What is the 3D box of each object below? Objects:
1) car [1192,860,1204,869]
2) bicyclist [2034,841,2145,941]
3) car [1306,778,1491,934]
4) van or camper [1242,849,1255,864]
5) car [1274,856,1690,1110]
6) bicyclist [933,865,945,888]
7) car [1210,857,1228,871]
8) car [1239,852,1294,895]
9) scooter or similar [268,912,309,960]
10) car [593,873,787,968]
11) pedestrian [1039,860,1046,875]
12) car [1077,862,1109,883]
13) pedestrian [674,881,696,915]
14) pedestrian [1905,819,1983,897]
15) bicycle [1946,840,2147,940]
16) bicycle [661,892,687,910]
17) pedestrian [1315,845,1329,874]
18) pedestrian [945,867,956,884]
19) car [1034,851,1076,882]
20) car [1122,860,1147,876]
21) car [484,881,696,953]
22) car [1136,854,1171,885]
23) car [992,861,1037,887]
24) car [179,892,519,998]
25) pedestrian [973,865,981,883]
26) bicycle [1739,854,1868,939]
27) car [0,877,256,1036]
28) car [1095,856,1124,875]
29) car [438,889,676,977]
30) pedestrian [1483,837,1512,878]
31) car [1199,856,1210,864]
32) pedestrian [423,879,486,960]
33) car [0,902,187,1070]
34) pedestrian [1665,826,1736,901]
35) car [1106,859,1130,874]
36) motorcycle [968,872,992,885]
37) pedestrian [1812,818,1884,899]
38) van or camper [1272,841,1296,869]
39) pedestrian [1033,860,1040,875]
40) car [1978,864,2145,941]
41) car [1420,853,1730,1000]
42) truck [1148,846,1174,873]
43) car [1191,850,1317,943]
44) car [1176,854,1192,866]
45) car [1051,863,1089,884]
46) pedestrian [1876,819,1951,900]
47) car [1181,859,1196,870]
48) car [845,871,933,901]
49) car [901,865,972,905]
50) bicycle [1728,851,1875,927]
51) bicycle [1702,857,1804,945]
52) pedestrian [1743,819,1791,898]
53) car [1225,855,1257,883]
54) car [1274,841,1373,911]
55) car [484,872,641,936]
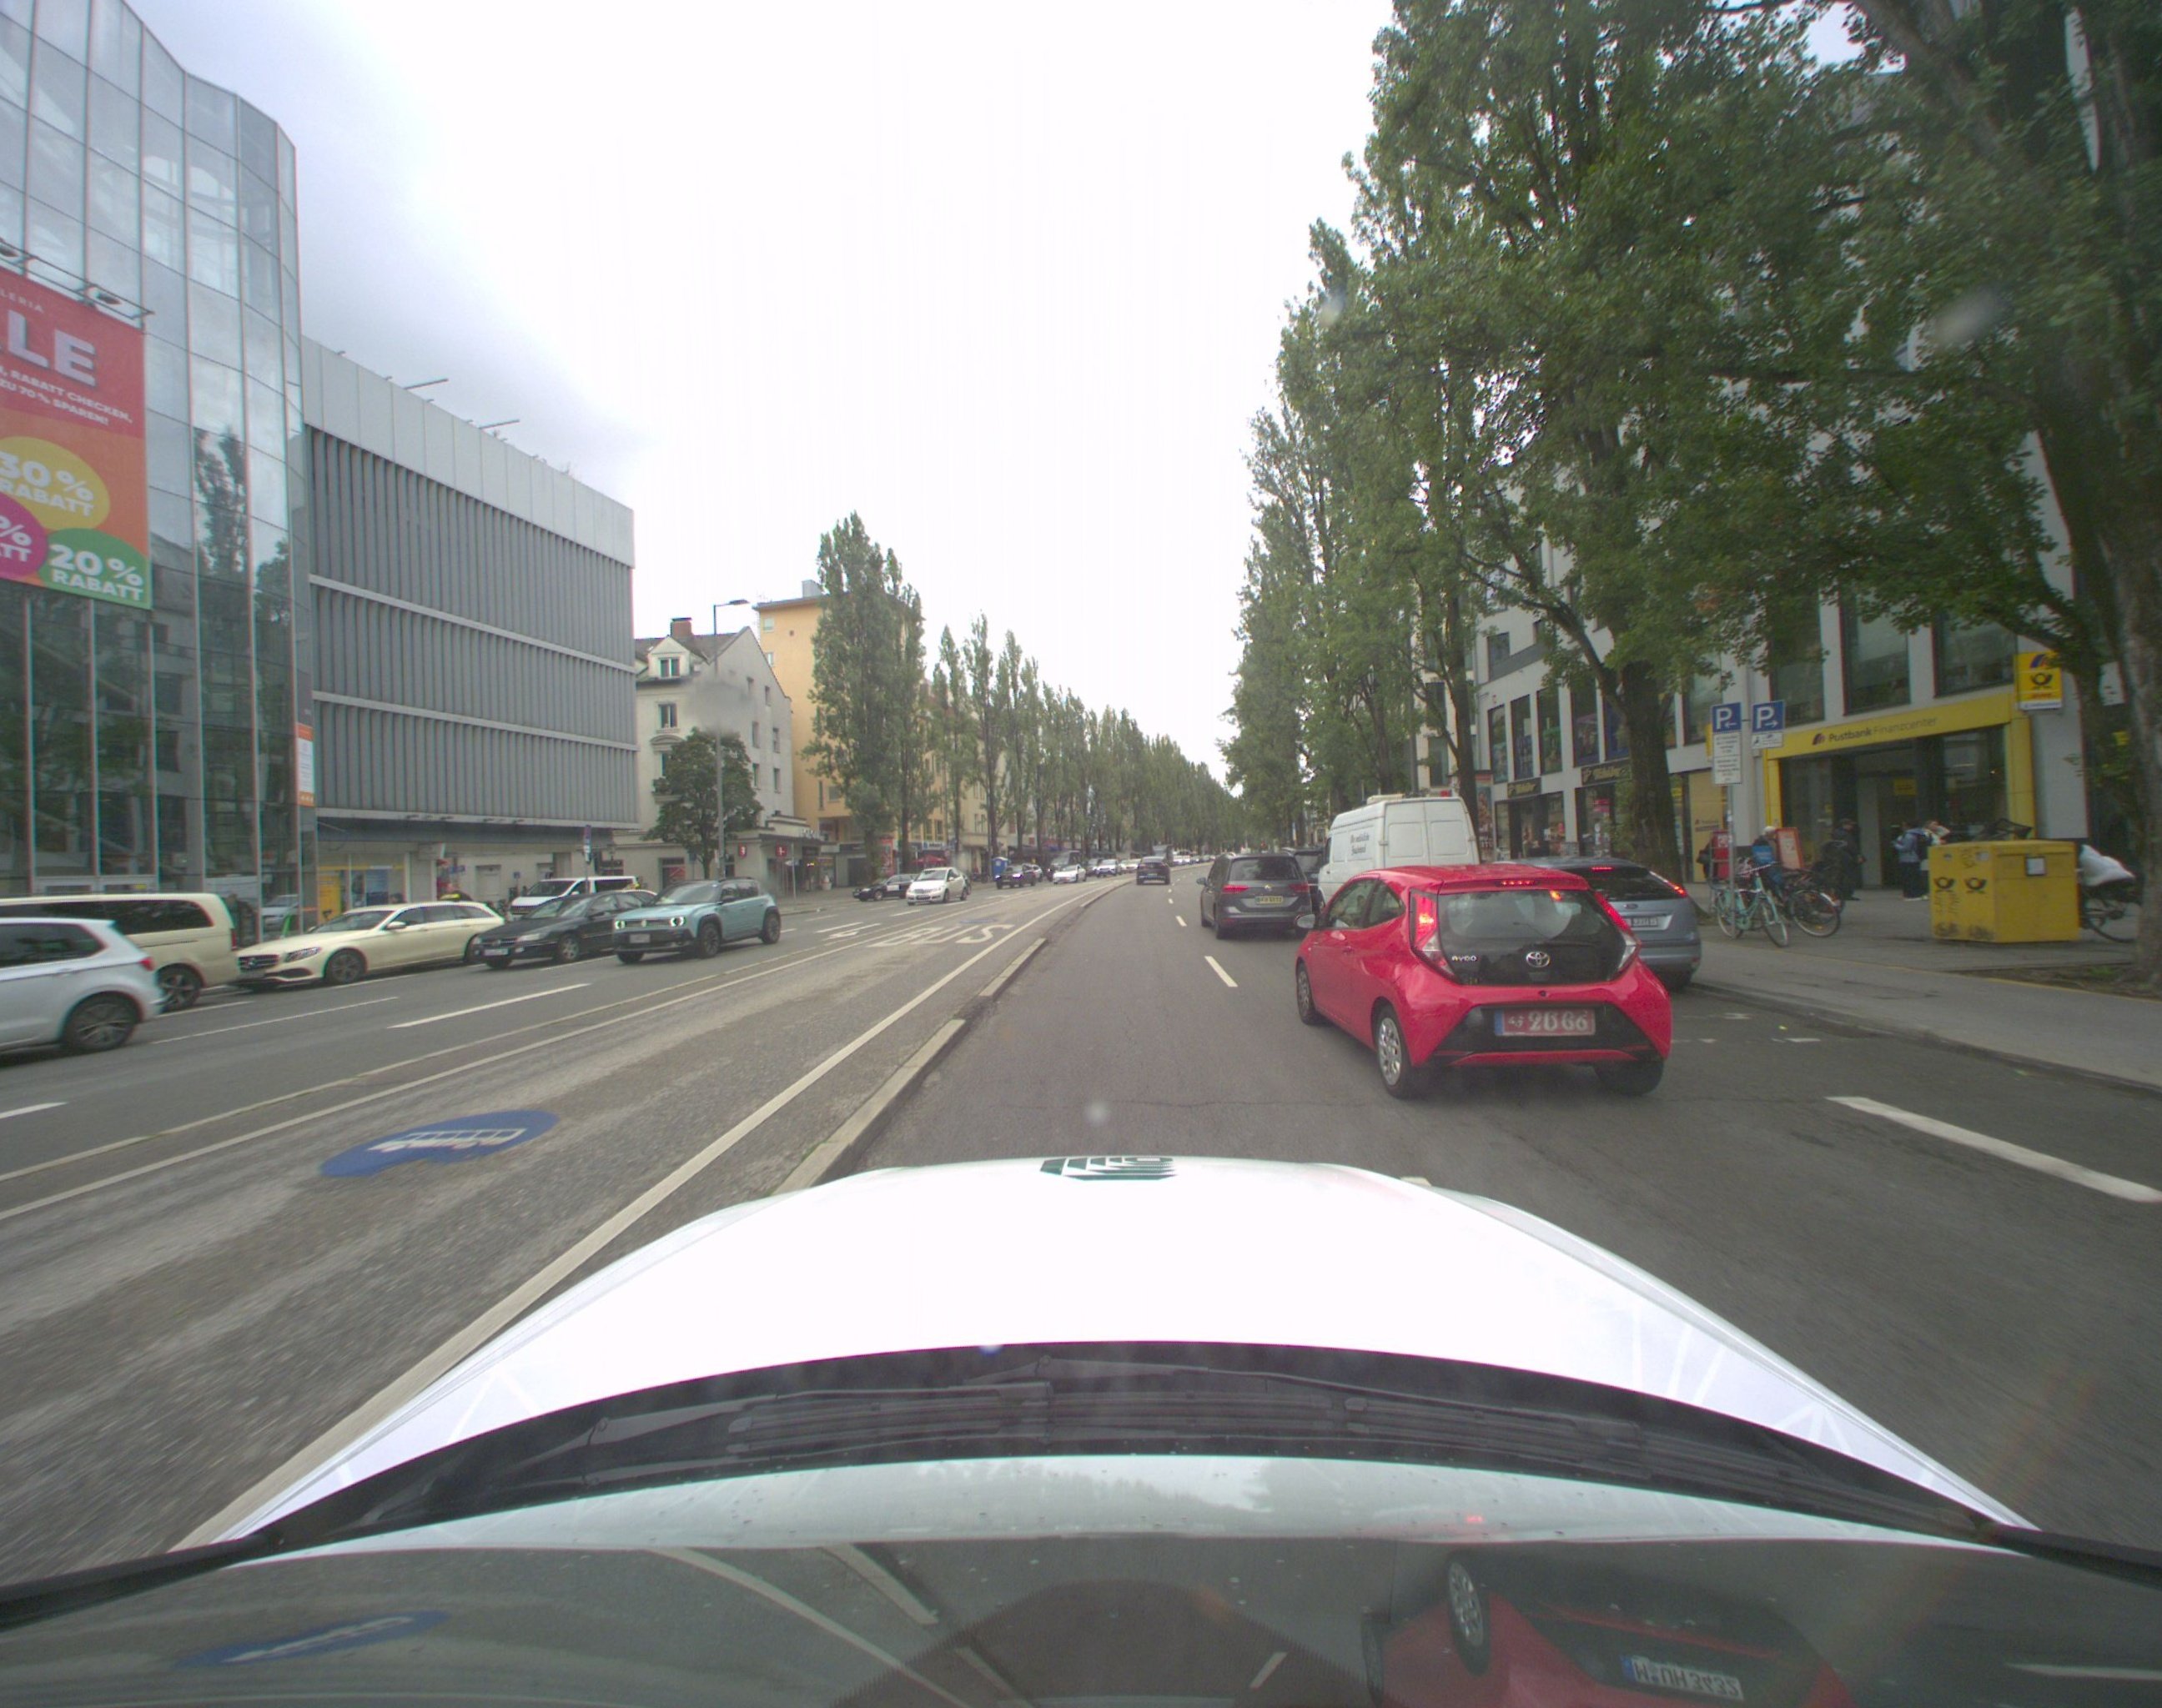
[{"bbox_3d":[21.109,1.885,147.034,1.655,1.596,4.015,-1,-1,14],"label":"car"},{"bbox_3d":[12.647,0.455,10.232,0.536,1.195,0.642,-3,-1,1],"label":"bicyclist"},{"bbox_3d":[6.418,0.082,17.296,1.985,2.742,5.559,-1,-1,3],"label":"car"},{"bbox_3d":[29.480,0.466,143.315,2.020,2.476,4.015,-3,-2,14],"label":"van or camper"},{"bbox_3d":[2.754,0.781,6.540,1.658,1.446,3.597,-1,-1,2],"label":"car"},{"bbox_3d":[-10.022,1.595,57.418,0.498,1.592,0.838,-3,-1,14],"label":"bicyclist"},{"bbox_3d":[16.390,1.218,96.739,1.746,1.619,3.761,-1,-1,14],"label":"car"},{"bbox_3d":[7.972,0.799,35.256,1.719,1.686,4.415,-2,0,5],"label":"car"},{"bbox_3d":[-21.196,2.173,21.789,0.254,1.173,0.993,-2,-1,-12],"label":"scooter or similar"},{"bbox_3d":[-7.917,1.273,16.969,1.810,1.545,4.003,-5,-1,3],"label":"car"},{"bbox_3d":[-4.864,1.723,103.583,0.633,1.862,0.650,-3,-1,14],"label":"pedestrian"},{"bbox_3d":[1.303,1.909,85.345,1.979,1.863,5.732,-4,-1,13],"label":"car"},{"bbox_3d":[-17.809,1.965,36.633,0.542,1.495,0.656,-3,-1,6],"label":"pedestrian"},{"bbox_3d":[17.826,0.086,16.842,0.762,1.535,0.709,-3,-1,2],"label":"pedestrian"},{"bbox_3d":[12.656,0.441,10.765,0.525,1.194,1.774,-3,-1,2],"label":"bicycle"},{"bbox_3d":[-25.314,2.906,50.715,0.456,0.964,1.884,-3,-1,7],"label":"bicycle"},{"bbox_3d":[13.615,0.305,46.020,0.606,1.619,0.796,-4,-1,11],"label":"pedestrian"},{"bbox_3d":[-12.292,2.063,76.730,0.629,1.561,0.819,-3,-1,15],"label":"pedestrian"},{"bbox_3d":[-2.311,1.106,74.396,2.155,2.605,6.086,-3,-1,13],"label":"car"},{"bbox_3d":[6.108,1.539,91.939,1.980,1.589,5.212,-4,-1,12],"label":"car"},{"bbox_3d":[-13.257,1.643,22.438,1.843,1.469,5.003,-5,-1,16],"label":"car"},{"bbox_3d":[4.220,0.866,47.708,1.872,1.642,4.589,-3,0,5],"label":"car"},{"bbox_3d":[-4.825,1.461,60.042,2.006,1.716,4.996,-3,-1,10],"label":"car"},{"bbox_3d":[-14.511,1.710,16.705,1.967,1.552,5.095,-3,0,6],"label":"car"},{"bbox_3d":[-10.436,1.991,81.824,0.535,1.747,0.758,-2,-1,14],"label":"pedestrian"},{"bbox_3d":[10.659,0.594,12.093,0.475,1.160,1.634,-2,0,2],"label":"bicycle"},{"bbox_3d":[-15.138,1.436,11.120,1.984,2.013,5.328,-3,-1,4],"label":"car"},{"bbox_3d":[2.713,1.097,77.246,1.896,1.603,4.370,-3,-1,13],"label":"car"},{"bbox_3d":[-11.152,1.611,17.838,1.720,1.409,4.697,-3,0,7],"label":"car"},{"bbox_3d":[16.383,0.130,32.052,0.679,1.558,0.751,-3,-1,3],"label":"pedestrian"},{"bbox_3d":[24.717,1.139,162.654,1.699,1.414,3.737,-3,-1,14],"label":"car"},{"bbox_3d":[-15.215,1.581,19.783,0.780,1.867,0.850,-3,-1,13],"label":"pedestrian"},{"bbox_3d":[-11.909,1.415,7.698,1.985,1.600,4.293,-3,-1,3],"label":"car"},{"bbox_3d":[14.224,0.210,18.720,0.796,1.637,1.024,-3,-1,2],"label":"pedestrian"},{"bbox_3d":[4.527,1.509,99.555,1.979,1.651,4.653,-4,-1,14],"label":"car"},{"bbox_3d":[-9.032,2.188,72.704,2.053,1.036,0.485,-1,-1,-7],"label":"motorcycle"},{"bbox_3d":[16.280,0.091,17.303,0.688,1.649,0.798,-3,-1,1],"label":"pedestrian"},{"bbox_3d":[24.448,0.112,97.930,2.442,3.112,4.734,-3,-1,15],"label":"van or camper"},{"bbox_3d":[-5.711,1.741,103.620,0.633,1.862,0.650,-3,-1,14],"label":"pedestrian"},{"bbox_3d":[12.716,0.599,10.627,0.365,0.904,1.497,-3,-1,2],"label":"car"},{"bbox_3d":[5.794,0.733,10.234,1.716,1.454,4.154,0,0,6],"label":"car"},{"bbox_3d":[10.936,0.711,110.355,2.275,3.323,7.184,-4,-1,14],"label":"truck"},{"bbox_3d":[3.375,0.775,16.634,1.755,1.614,4.185,-2,0,1],"label":"car"},{"bbox_3d":[15.778,0.897,124.696,1.847,1.711,4.553,-4,-1,14],"label":"car"},{"bbox_3d":[-0.809,1.520,63.651,1.786,1.394,4.708,-3,-1,14],"label":"car"},{"bbox_3d":[17.064,0.107,16.709,0.688,1.585,0.773,-3,-1,1],"label":"pedestrian"},{"bbox_3d":[17.784,1.710,134.691,1.926,1.642,4.480,-3,-1,14],"label":"car"},{"bbox_3d":[-11.133,1.866,47.330,4.530,1.439,1.906,-3,-1,-39],"label":"car"},{"bbox_3d":[-6.417,1.340,36.635,1.942,1.589,4.009,-3,-1,8],"label":"car"},{"bbox_3d":[11.639,0.566,13.208,1.616,1.160,0.708,-2,0,14],"label":"bicycle"},{"bbox_3d":[9.765,0.647,11.904,0.473,1.160,1.833,-2,0,18],"label":"bicycle"},{"bbox_3d":[15.521,0.103,18.440,0.712,1.724,0.744,-4,-1,39],"label":"pedestrian"},{"bbox_3d":[10.173,0.933,51.996,1.913,1.700,4.663,-1,-1,10],"label":"car"},{"bbox_3d":[6.893,0.582,23.657,1.919,1.805,4.788,-1,0,6],"label":"car"},{"bbox_3d":[-19.565,1.816,31.080,1.981,2.013,5.127,-3,0,10],"label":"car"}]
